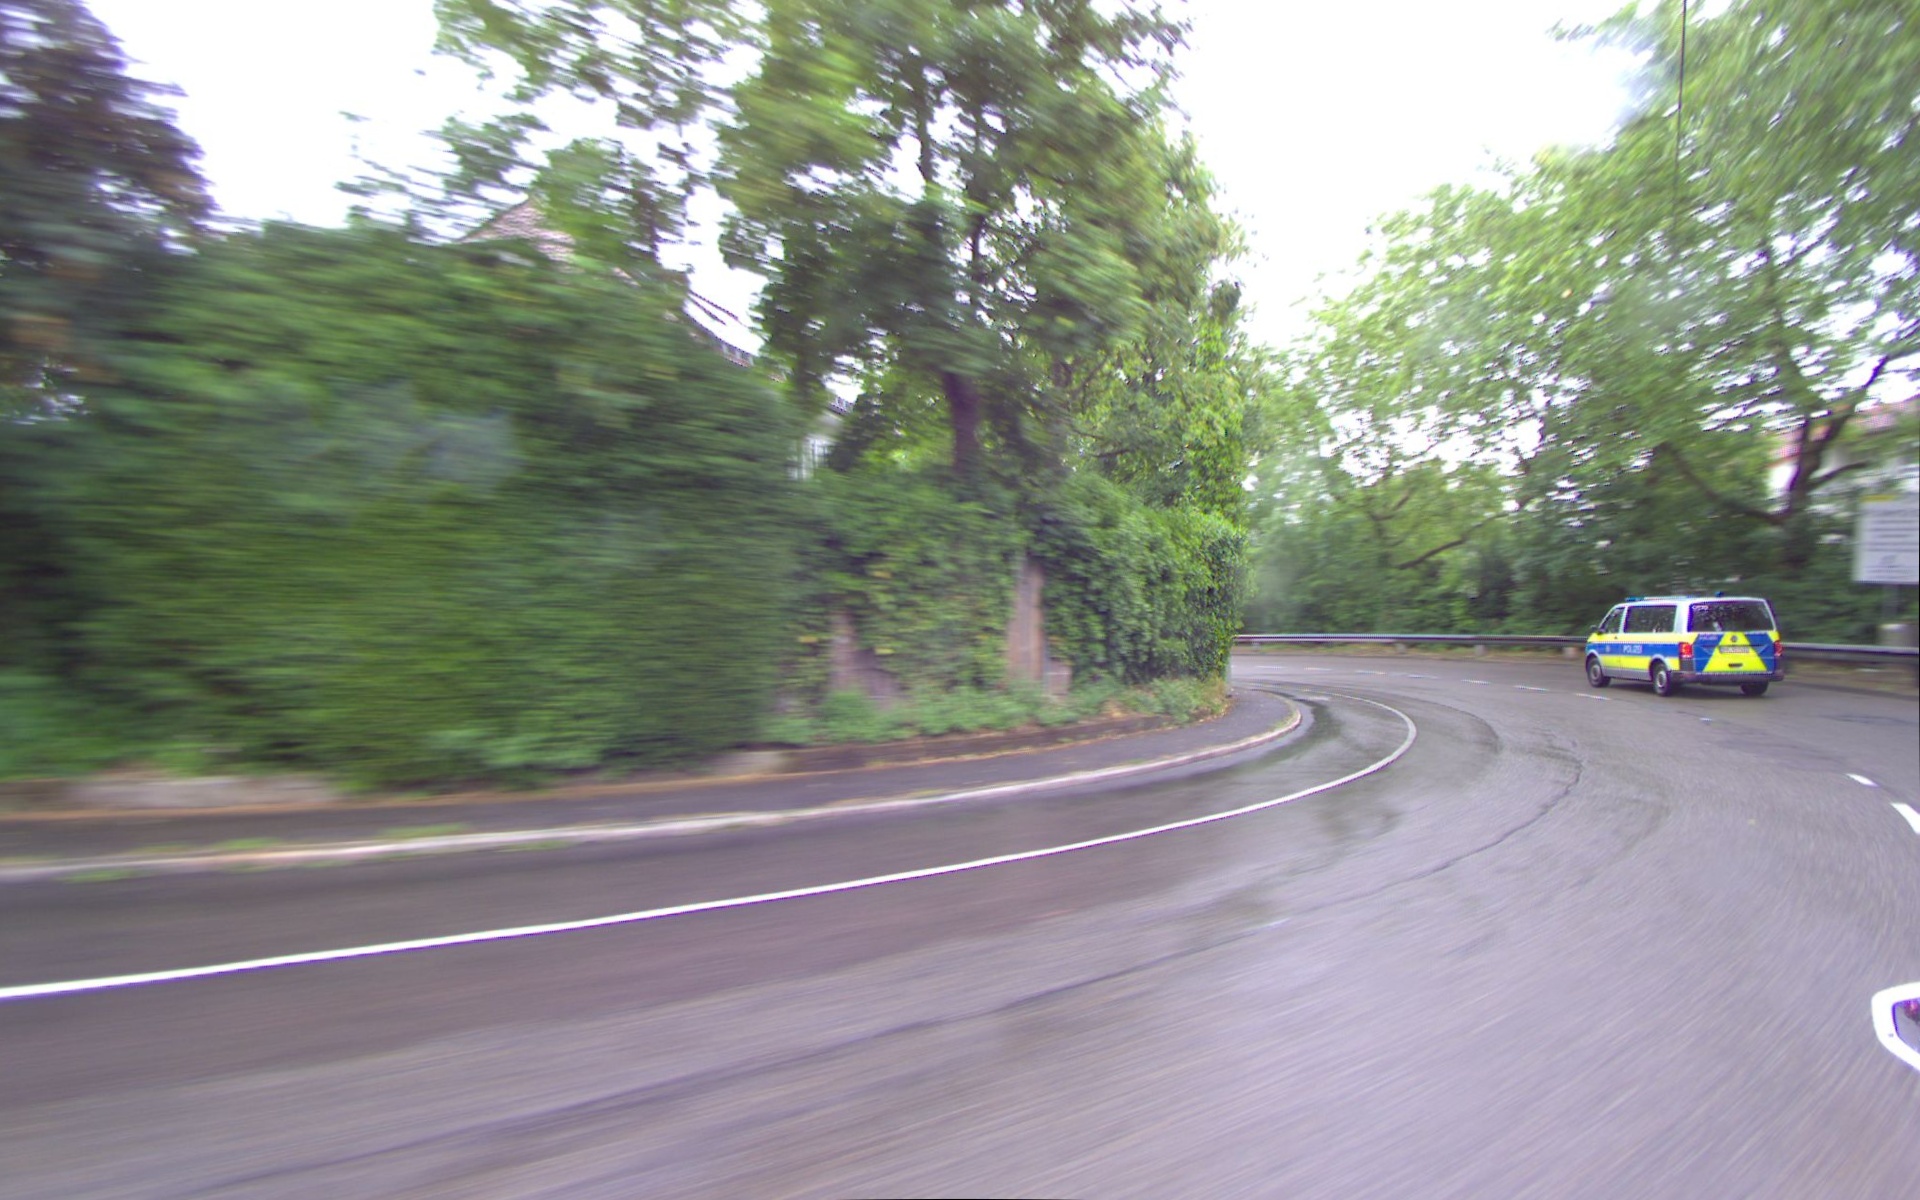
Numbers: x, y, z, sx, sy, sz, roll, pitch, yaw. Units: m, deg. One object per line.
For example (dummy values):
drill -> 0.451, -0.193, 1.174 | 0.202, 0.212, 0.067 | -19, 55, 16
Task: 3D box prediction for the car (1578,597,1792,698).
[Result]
car -> 15.272, 0.978, 21.511 | 1.959, 1.918, 4.573 | -1, -2, 12
